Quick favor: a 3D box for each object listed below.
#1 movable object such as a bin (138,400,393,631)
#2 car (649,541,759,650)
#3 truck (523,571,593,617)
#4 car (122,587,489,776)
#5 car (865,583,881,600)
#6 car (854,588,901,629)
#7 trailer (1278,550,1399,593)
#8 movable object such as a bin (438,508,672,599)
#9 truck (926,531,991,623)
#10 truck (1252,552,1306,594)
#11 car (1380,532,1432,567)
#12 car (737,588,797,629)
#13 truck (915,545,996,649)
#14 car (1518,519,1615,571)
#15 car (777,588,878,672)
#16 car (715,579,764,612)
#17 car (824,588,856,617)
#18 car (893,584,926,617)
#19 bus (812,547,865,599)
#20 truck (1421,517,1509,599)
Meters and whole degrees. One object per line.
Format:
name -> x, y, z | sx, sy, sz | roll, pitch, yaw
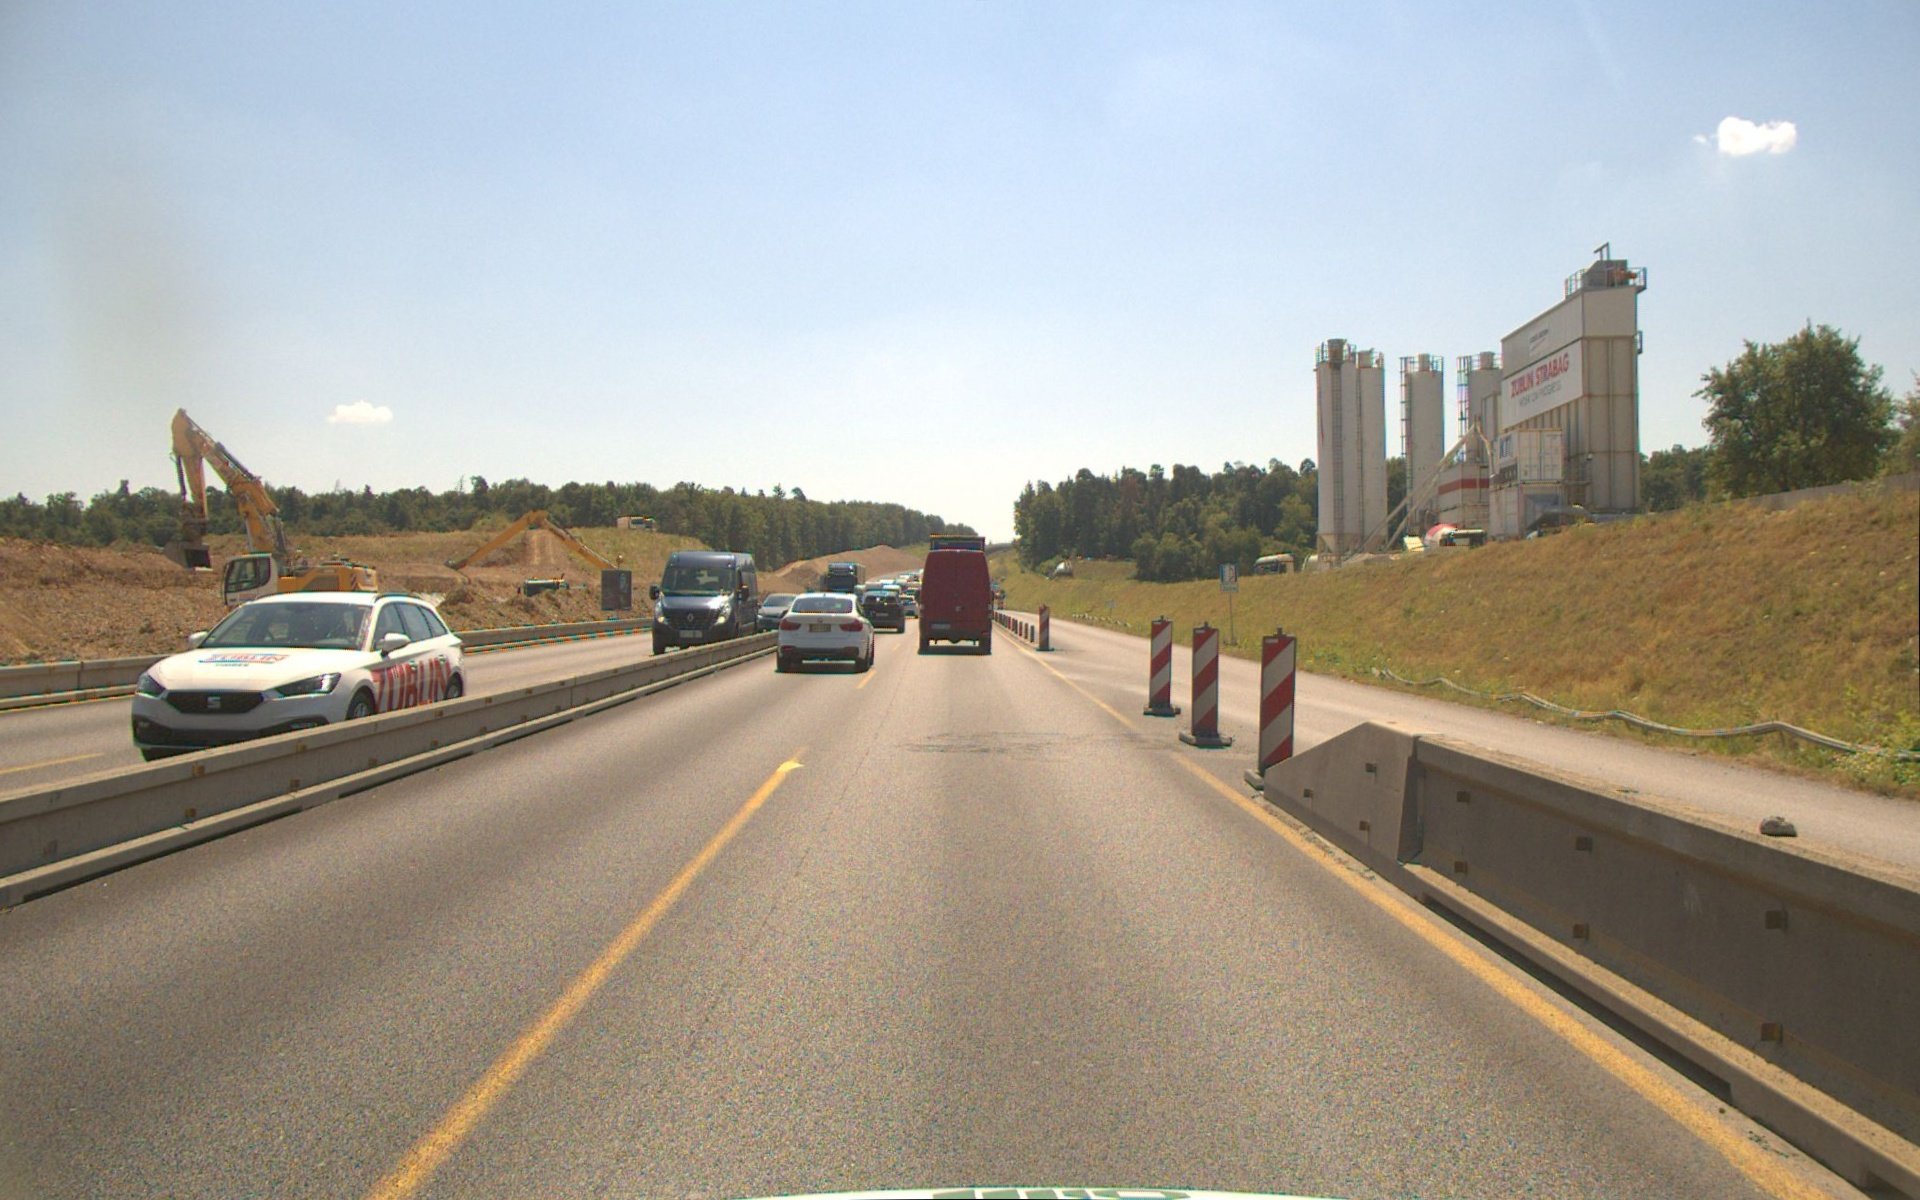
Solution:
movable object such as a bin -> -24.327, -2.896, 58.232 | 7.479, 7.848, 3.446 | 0, 0, 1
car -> -6.254, -0.111, 40.986 | 1.915, 2.511, 5.357 | 0, 0, 0
truck -> -24.659, -0.383, 101.887 | 2.268, 2.663, 8.410 | 0, 0, 0
car -> -5.789, 0.626, 15.288 | 1.644, 1.467, 4.670 | 0, 0, -2
car -> -10.562, -1.066, 201.297 | 1.727, 2.049, 3.826 | 0, 0, -1
car -> -3.204, 0.316, 65.090 | 1.759, 1.561, 3.930 | 0, 0, -2
trailer -> 29.894, -2.245, 130.654 | 8.847, 3.285, 3.318 | 0, 0, -15
movable object such as a bin -> -33.271, -3.840, 136.591 | 18.335, 7.357, 3.614 | 0, 0, -2
truck -> -0.018, -1.073, 79.742 | 2.953, 4.225, 8.272 | 0, 0, 0
truck -> 24.810, -2.097, 128.461 | 2.837, 3.167, 6.009 | 0, 0, 24
car -> 27.374, -3.061, 101.571 | 1.953, 2.049, 4.427 | 0, 0, 0
car -> -7.379, 0.309, 63.554 | 1.750, 1.502, 4.524 | 1, 0, 0
truck -> -0.088, -0.100, 45.987 | 2.068, 2.679, 6.484 | 0, 0, 1
car -> 25.241, -2.255, 69.004 | 2.177, 2.049, 4.992 | 0, 0, -1
car -> -2.635, 0.562, 33.890 | 1.759, 1.561, 5.072 | 1, 0, -1
car -> -10.082, -0.210, 75.813 | 1.656, 1.458, 4.448 | 1, 0, 0
car -> -7.019, 0.135, 96.904 | 1.570, 1.607, 4.167 | 0, 0, 0
car -> -3.151, 0.000, 104.522 | 1.953, 2.049, 4.000 | 0, 0, 0
bus -> -10.849, -2.356, 149.902 | 3.863, 4.492, 17.196 | 0, 0, -1
truck -> 28.329, -2.259, 93.208 | 3.362, 4.371, 9.936 | 0, 0, 9
